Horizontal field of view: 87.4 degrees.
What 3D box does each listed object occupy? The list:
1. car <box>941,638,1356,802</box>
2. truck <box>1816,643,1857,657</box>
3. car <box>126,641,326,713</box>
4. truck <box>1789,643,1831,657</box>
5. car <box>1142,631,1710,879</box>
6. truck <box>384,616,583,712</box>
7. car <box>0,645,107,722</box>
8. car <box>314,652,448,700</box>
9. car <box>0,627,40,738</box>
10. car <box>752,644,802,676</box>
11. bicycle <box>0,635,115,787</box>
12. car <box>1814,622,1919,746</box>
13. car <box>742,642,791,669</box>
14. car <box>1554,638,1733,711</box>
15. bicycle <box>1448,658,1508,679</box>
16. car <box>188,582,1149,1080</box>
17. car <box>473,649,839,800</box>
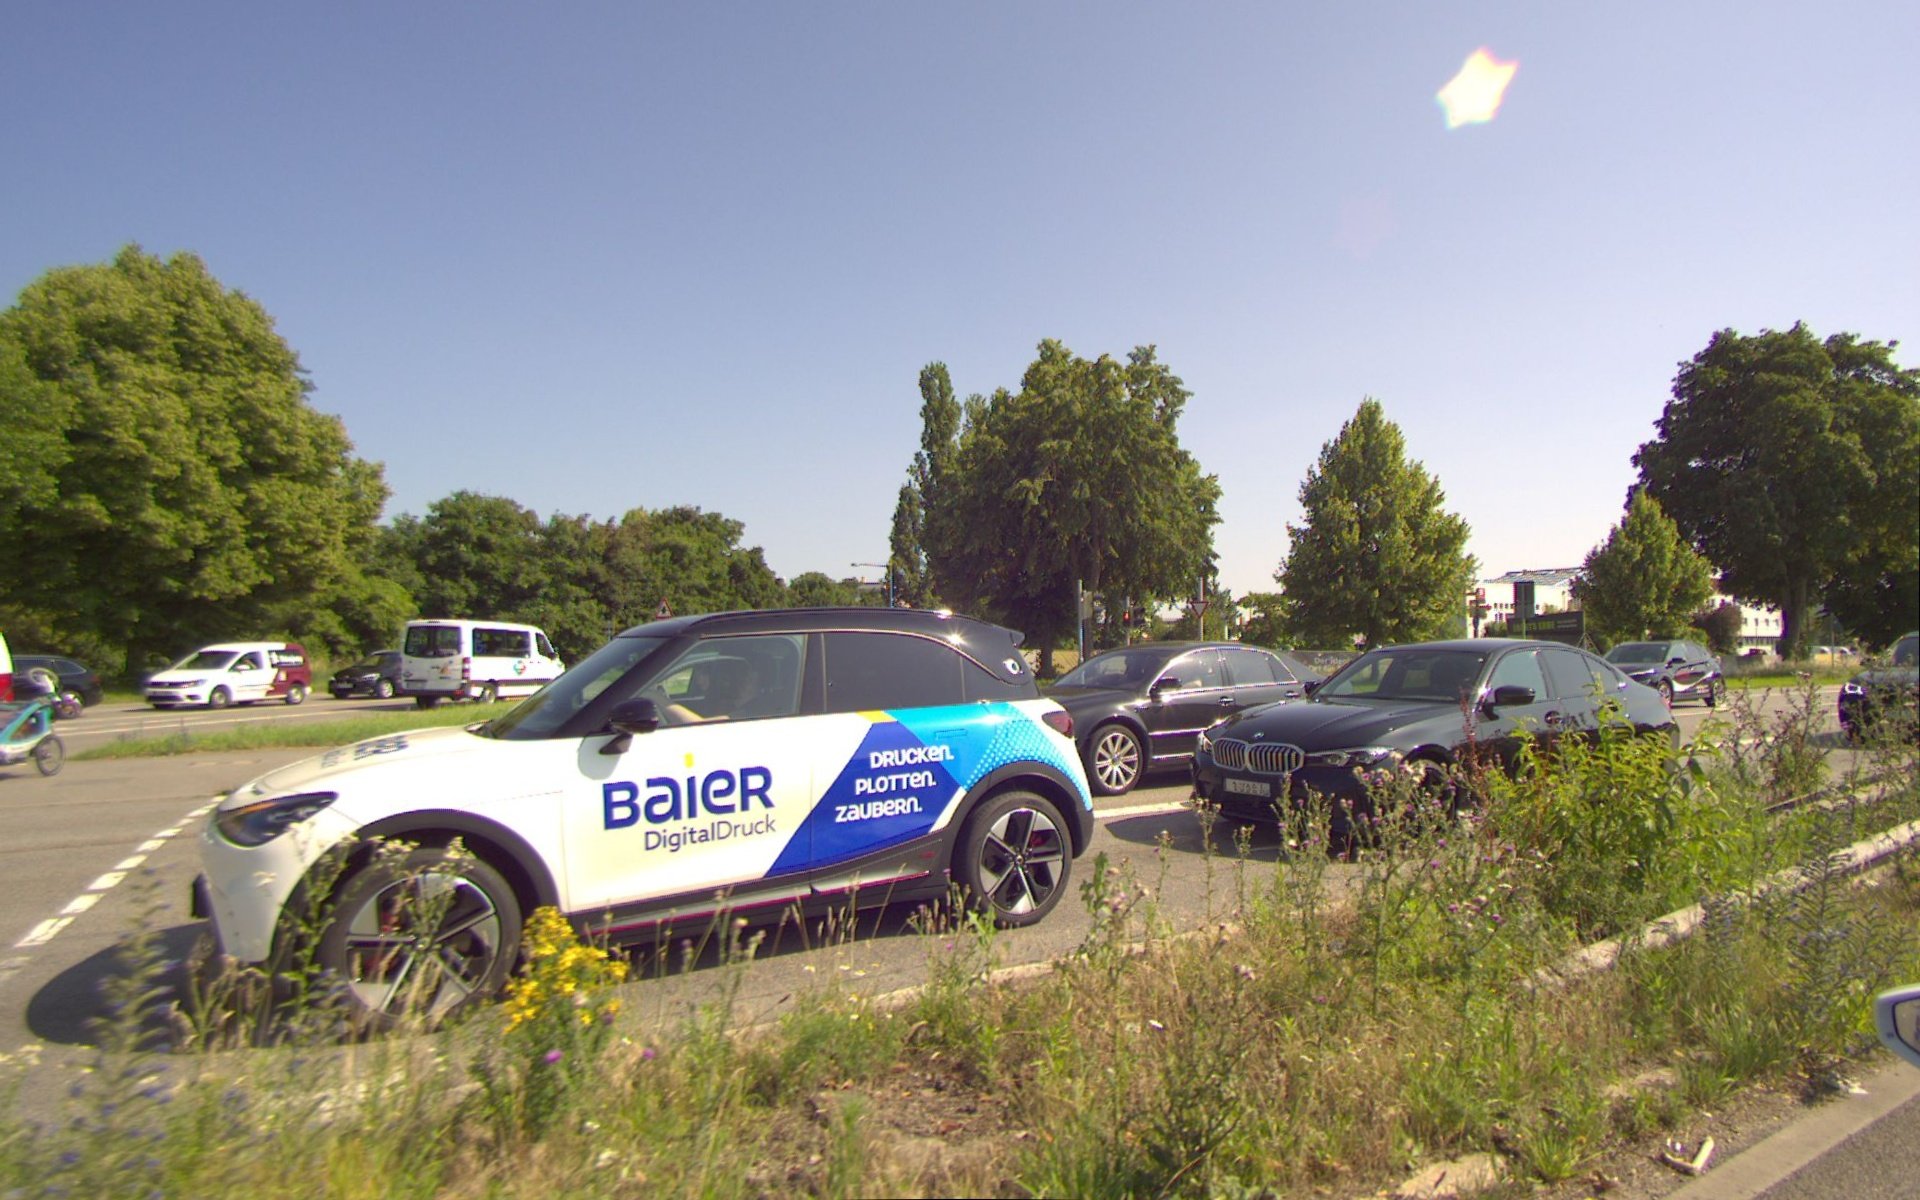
[{"bbox_3d":[2.098,1.169,10.969,4.216,1.456,1.922,1,-3,-29],"label":"car"},{"bbox_3d":[136.893,7.865,156.957,2.028,2.040,4.480,2,-2,-30],"label":"truck"},{"bbox_3d":[-20.254,2.101,28.019,1.964,1.824,4.511,-1,-3,5],"label":"car"},{"bbox_3d":[129.406,7.631,152.907,2.028,2.040,4.480,2,-2,-30],"label":"truck"},{"bbox_3d":[3.918,1.024,8.168,4.838,1.505,1.808,1,-3,-31],"label":"car"},{"bbox_3d":[-13.301,1.758,28.647,2.333,2.420,6.045,-1,-2,5],"label":"truck"},{"bbox_3d":[-21.133,1.779,21.438,1.964,1.627,4.271,-1,-3,5],"label":"car"},{"bbox_3d":[-19.541,2.530,34.130,1.881,1.532,4.129,-1,-3,5],"label":"car"},{"bbox_3d":[-18.268,1.391,16.378,1.960,1.975,4.659,0,-3,5],"label":"car"},{"bbox_3d":[-10.605,3.456,58.501,1.875,1.671,4.002,1,-2,5],"label":"car"},{"bbox_3d":[-11.238,1.240,11.309,1.114,1.692,2.800,1,-2,-2],"label":"bicycle"},{"bbox_3d":[14.425,1.156,14.507,4.565,1.615,1.837,2,-2,-31],"label":"car"},{"bbox_3d":[-13.498,3.867,70.281,1.741,1.773,4.102,0,-2,14],"label":"car"},{"bbox_3d":[15.959,1.712,23.429,4.039,1.574,1.839,1,-5,-30],"label":"car"},{"bbox_3d":[24.380,3.234,47.289,2.466,0.962,0.839,1,-2,-10],"label":"bicycle"},{"bbox_3d":[-1.258,0.835,5.267,4.163,1.631,2.000,1,-3,-31],"label":"car"},{"bbox_3d":[-3.374,1.309,11.331,3.718,1.432,1.479,1,-5,-30],"label":"car"}]
